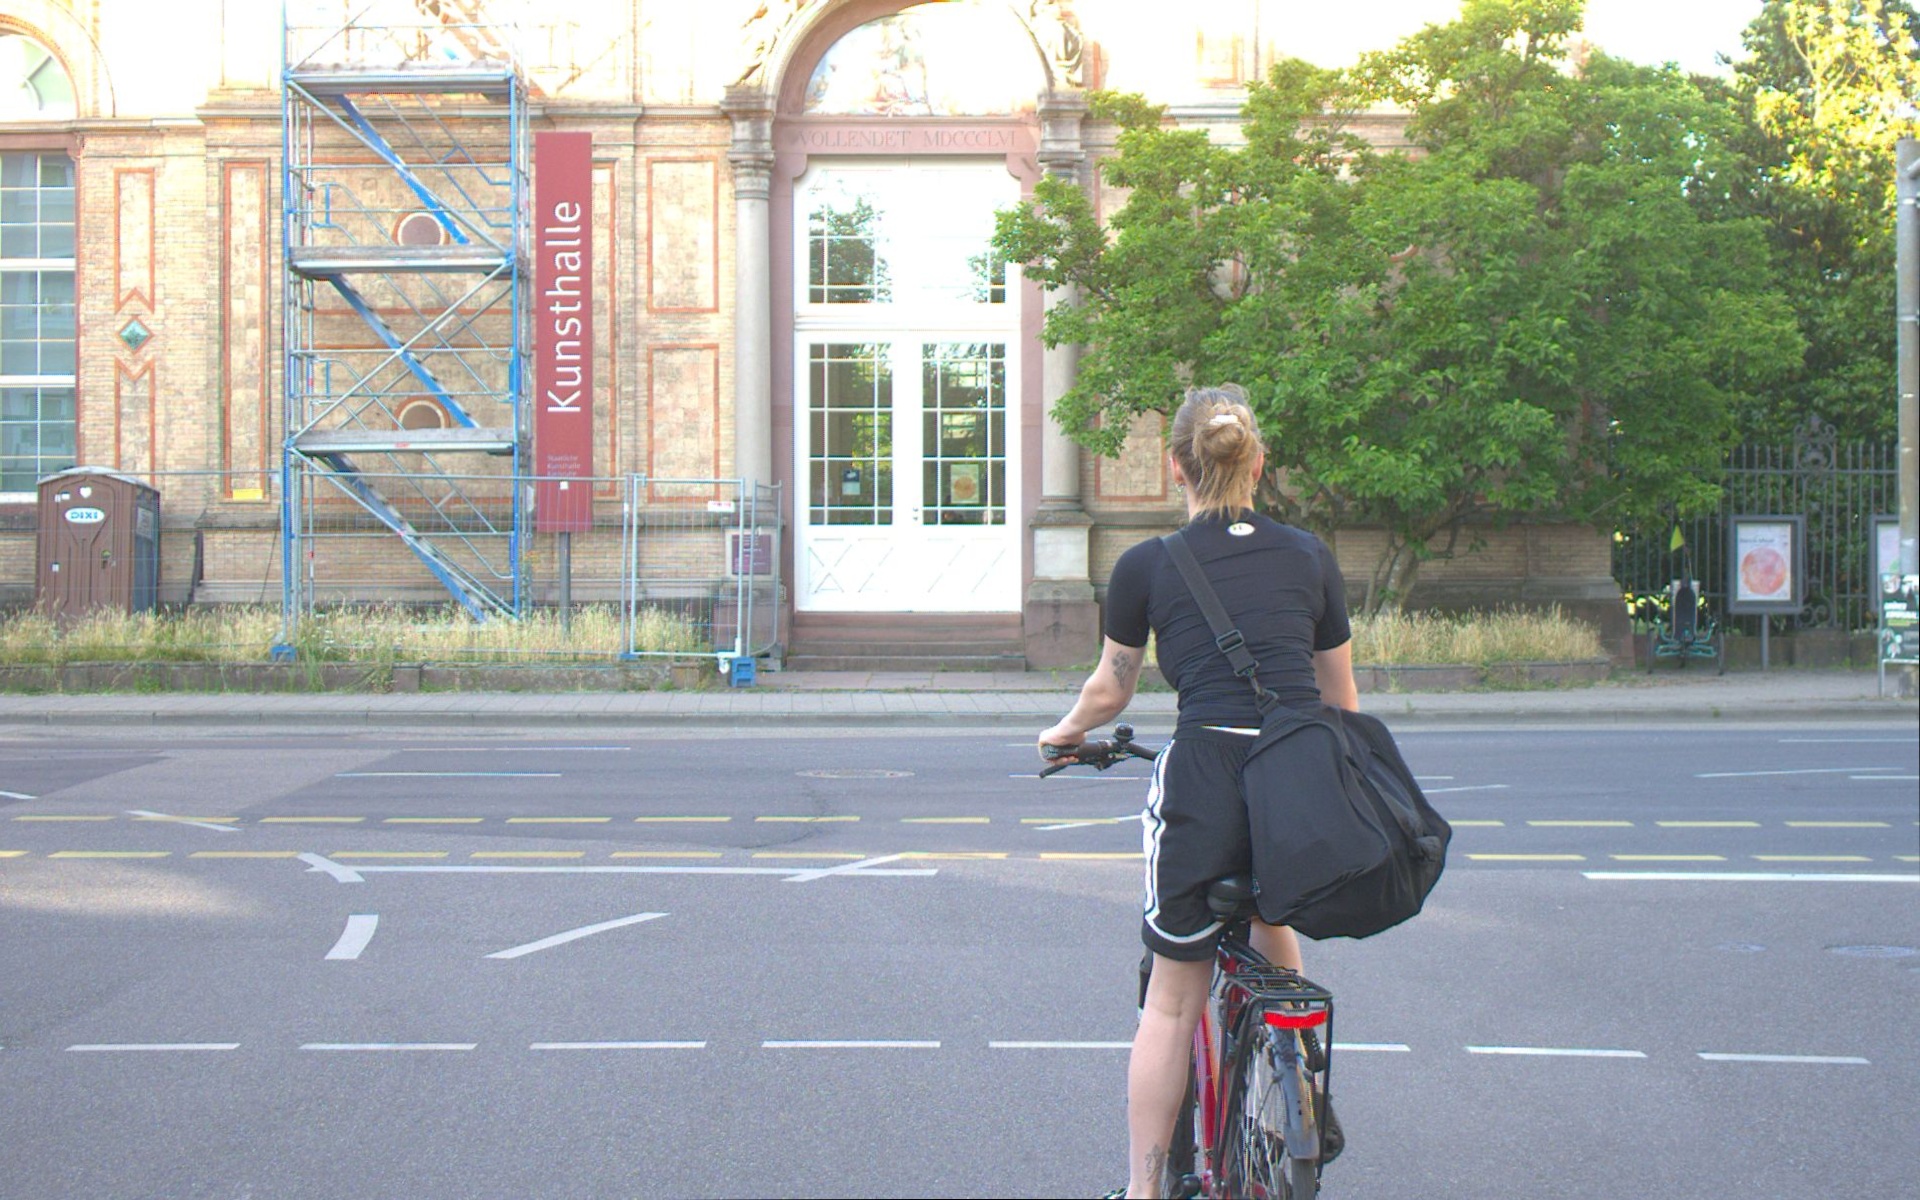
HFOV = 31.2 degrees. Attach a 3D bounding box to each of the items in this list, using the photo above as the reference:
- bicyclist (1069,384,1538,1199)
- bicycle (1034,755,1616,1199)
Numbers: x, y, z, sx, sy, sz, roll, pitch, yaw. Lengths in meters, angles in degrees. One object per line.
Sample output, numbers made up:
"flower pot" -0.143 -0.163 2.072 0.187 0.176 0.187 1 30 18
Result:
"bicyclist" 0.593 0.392 6.214 0.716 1.497 0.851 0 -1 -3
"bicycle" 0.582 0.892 6.287 0.711 1.152 2.069 0 -1 -4
